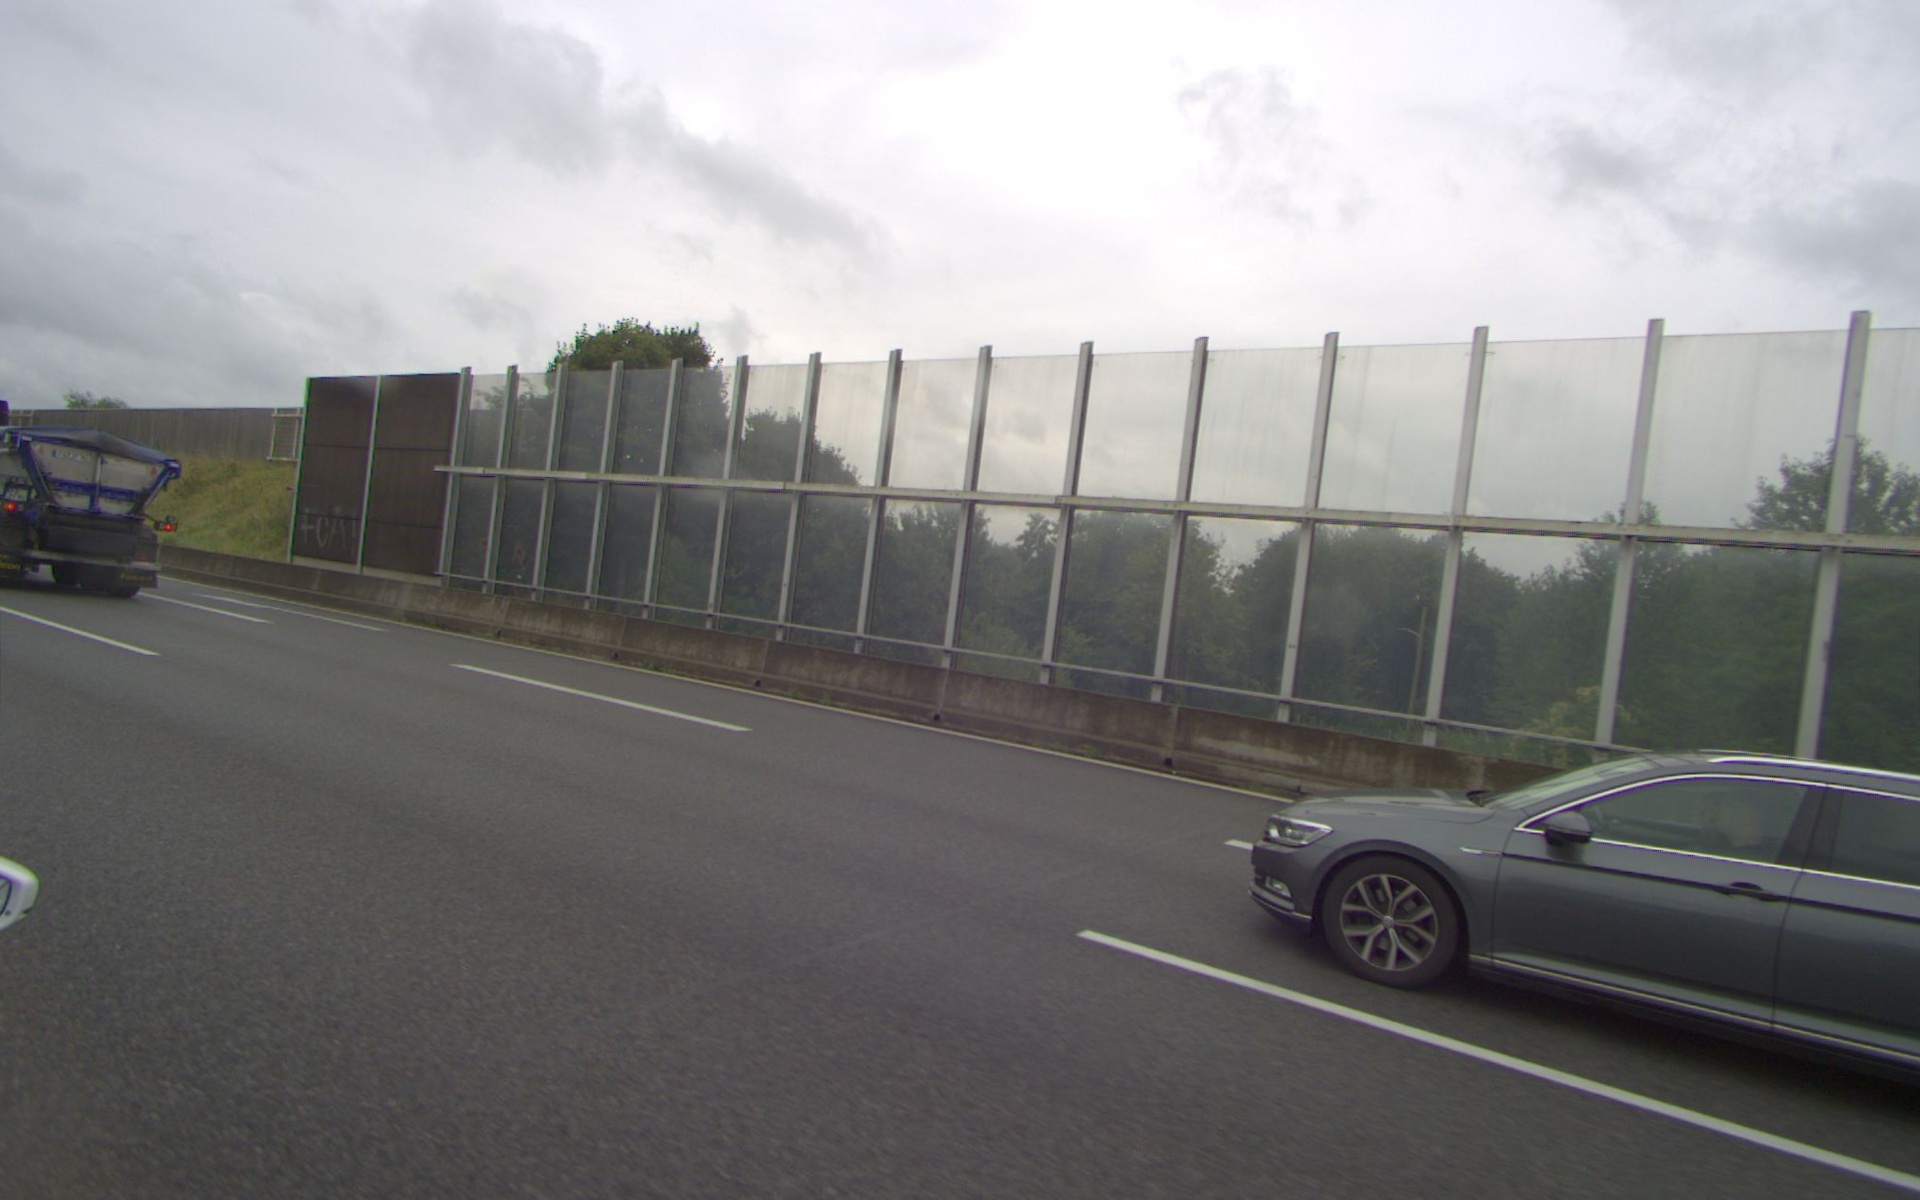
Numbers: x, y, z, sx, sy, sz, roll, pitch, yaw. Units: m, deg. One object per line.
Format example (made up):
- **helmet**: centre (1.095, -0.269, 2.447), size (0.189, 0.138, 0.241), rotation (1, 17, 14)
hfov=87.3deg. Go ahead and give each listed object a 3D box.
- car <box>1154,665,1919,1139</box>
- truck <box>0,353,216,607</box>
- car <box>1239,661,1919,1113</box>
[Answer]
- **car**: centre (3.869, 1.450, 5.097), size (5.201, 1.443, 1.944), rotation (7, -2, 32)
- **truck**: centre (-20.305, -2.561, 20.985), size (12.500, 3.998, 2.817), rotation (6, 0, 31)
- **car**: centre (3.885, 1.358, 5.037), size (4.396, 1.473, 1.667), rotation (6, -2, 31)
